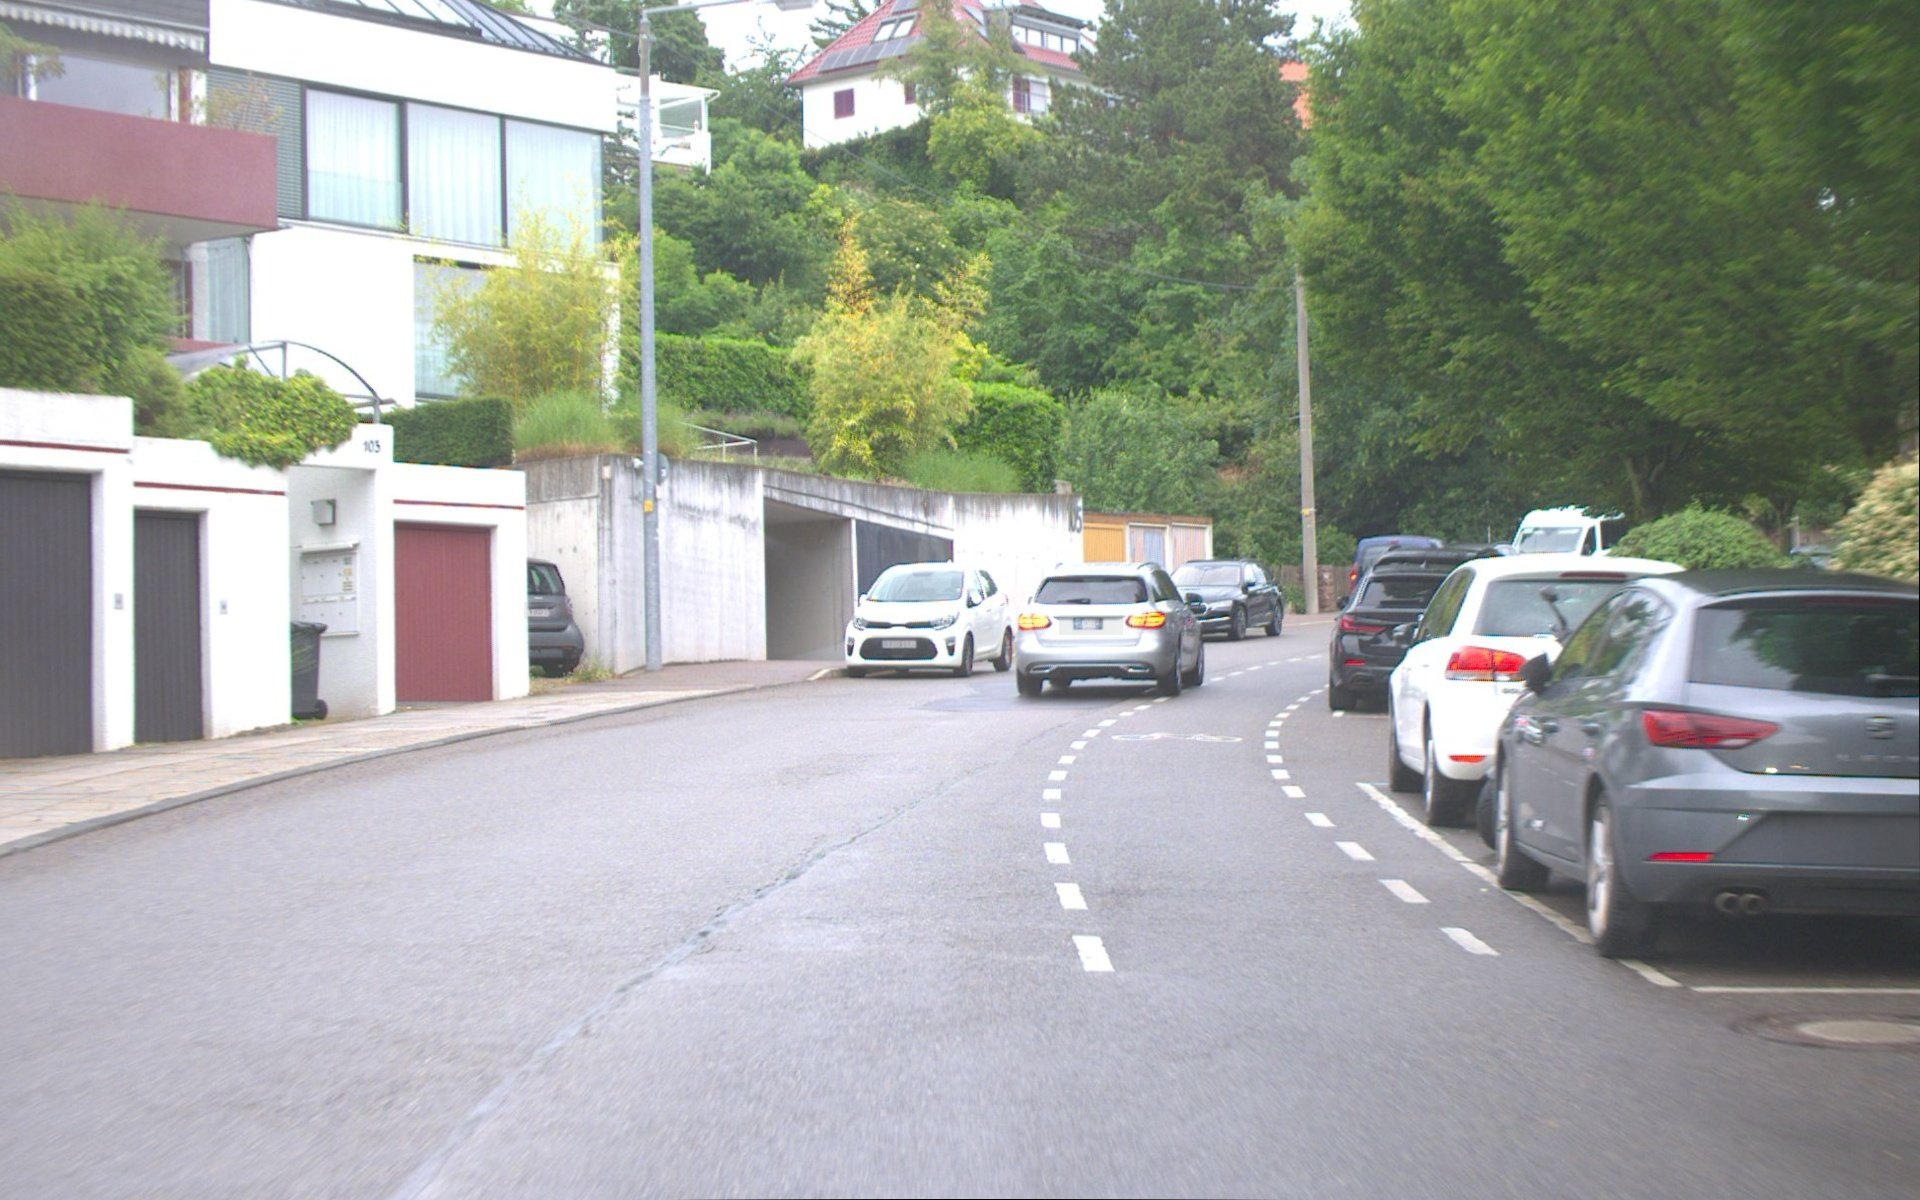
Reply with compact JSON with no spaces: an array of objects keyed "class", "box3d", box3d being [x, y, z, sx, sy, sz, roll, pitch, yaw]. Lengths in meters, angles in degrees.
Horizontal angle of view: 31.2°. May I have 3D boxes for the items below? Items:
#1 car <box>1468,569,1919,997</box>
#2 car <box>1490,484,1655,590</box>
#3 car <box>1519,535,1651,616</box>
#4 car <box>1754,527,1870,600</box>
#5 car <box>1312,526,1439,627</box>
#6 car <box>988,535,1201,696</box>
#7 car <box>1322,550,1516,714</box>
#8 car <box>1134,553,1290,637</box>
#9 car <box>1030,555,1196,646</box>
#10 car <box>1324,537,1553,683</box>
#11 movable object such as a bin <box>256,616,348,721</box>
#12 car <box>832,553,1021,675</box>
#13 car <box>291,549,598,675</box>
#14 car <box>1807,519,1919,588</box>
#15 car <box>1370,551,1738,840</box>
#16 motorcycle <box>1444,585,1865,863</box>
[{"class":"car","box3d":[3.270,0.606,14.003,1.878,1.412,4.468,0,1,2]},{"class":"car","box3d":[15.660,-1.640,87.617,2.098,2.541,6.087,-1,1,31]},{"class":"car","box3d":[13.449,-0.541,73.837,1.996,1.702,3.995,0,1,23]},{"class":"car","box3d":[18.556,-0.823,74.761,1.656,1.514,3.995,1,2,26]},{"class":"car","box3d":[7.301,-0.417,60.104,1.994,1.702,3.998,0,1,10]},{"class":"car","box3d":[1.575,0.137,38.680,2.026,1.702,4.214,0,1,7]},{"class":"car","box3d":[4.778,0.275,35.810,1.855,1.575,4.856,0,1,8]},{"class":"car","box3d":[4.723,-0.119,63.839,1.714,1.454,4.678,-1,1,19]},{"class":"car","box3d":[2.607,-0.013,57.593,1.833,1.435,4.037,-1,1,16]},{"class":"car","box3d":[5.878,0.076,41.702,2.055,1.650,5.232,0,1,16]},{"class":"movable object such as a bin","box3d":[-6.215,0.643,32.476,0.544,0.960,0.644,1,1,39]},{"class":"car","box3d":[-0.400,0.155,45.921,1.628,1.510,3.830,-1,1,13]},{"class":"car","box3d":[-6.660,0.122,44.210,3.928,1.473,1.763,2,2,41]},{"class":"car","box3d":[21.592,-1.124,81.424,1.779,1.547,4.721,1,2,29]},{"class":"car","box3d":[3.378,0.475,20.195,1.657,1.484,4.000,1,1,3]},{"class":"motorcycle","box3d":[3.466,0.609,17.261,1.913,1.325,0.788,1,1,-2]}]
